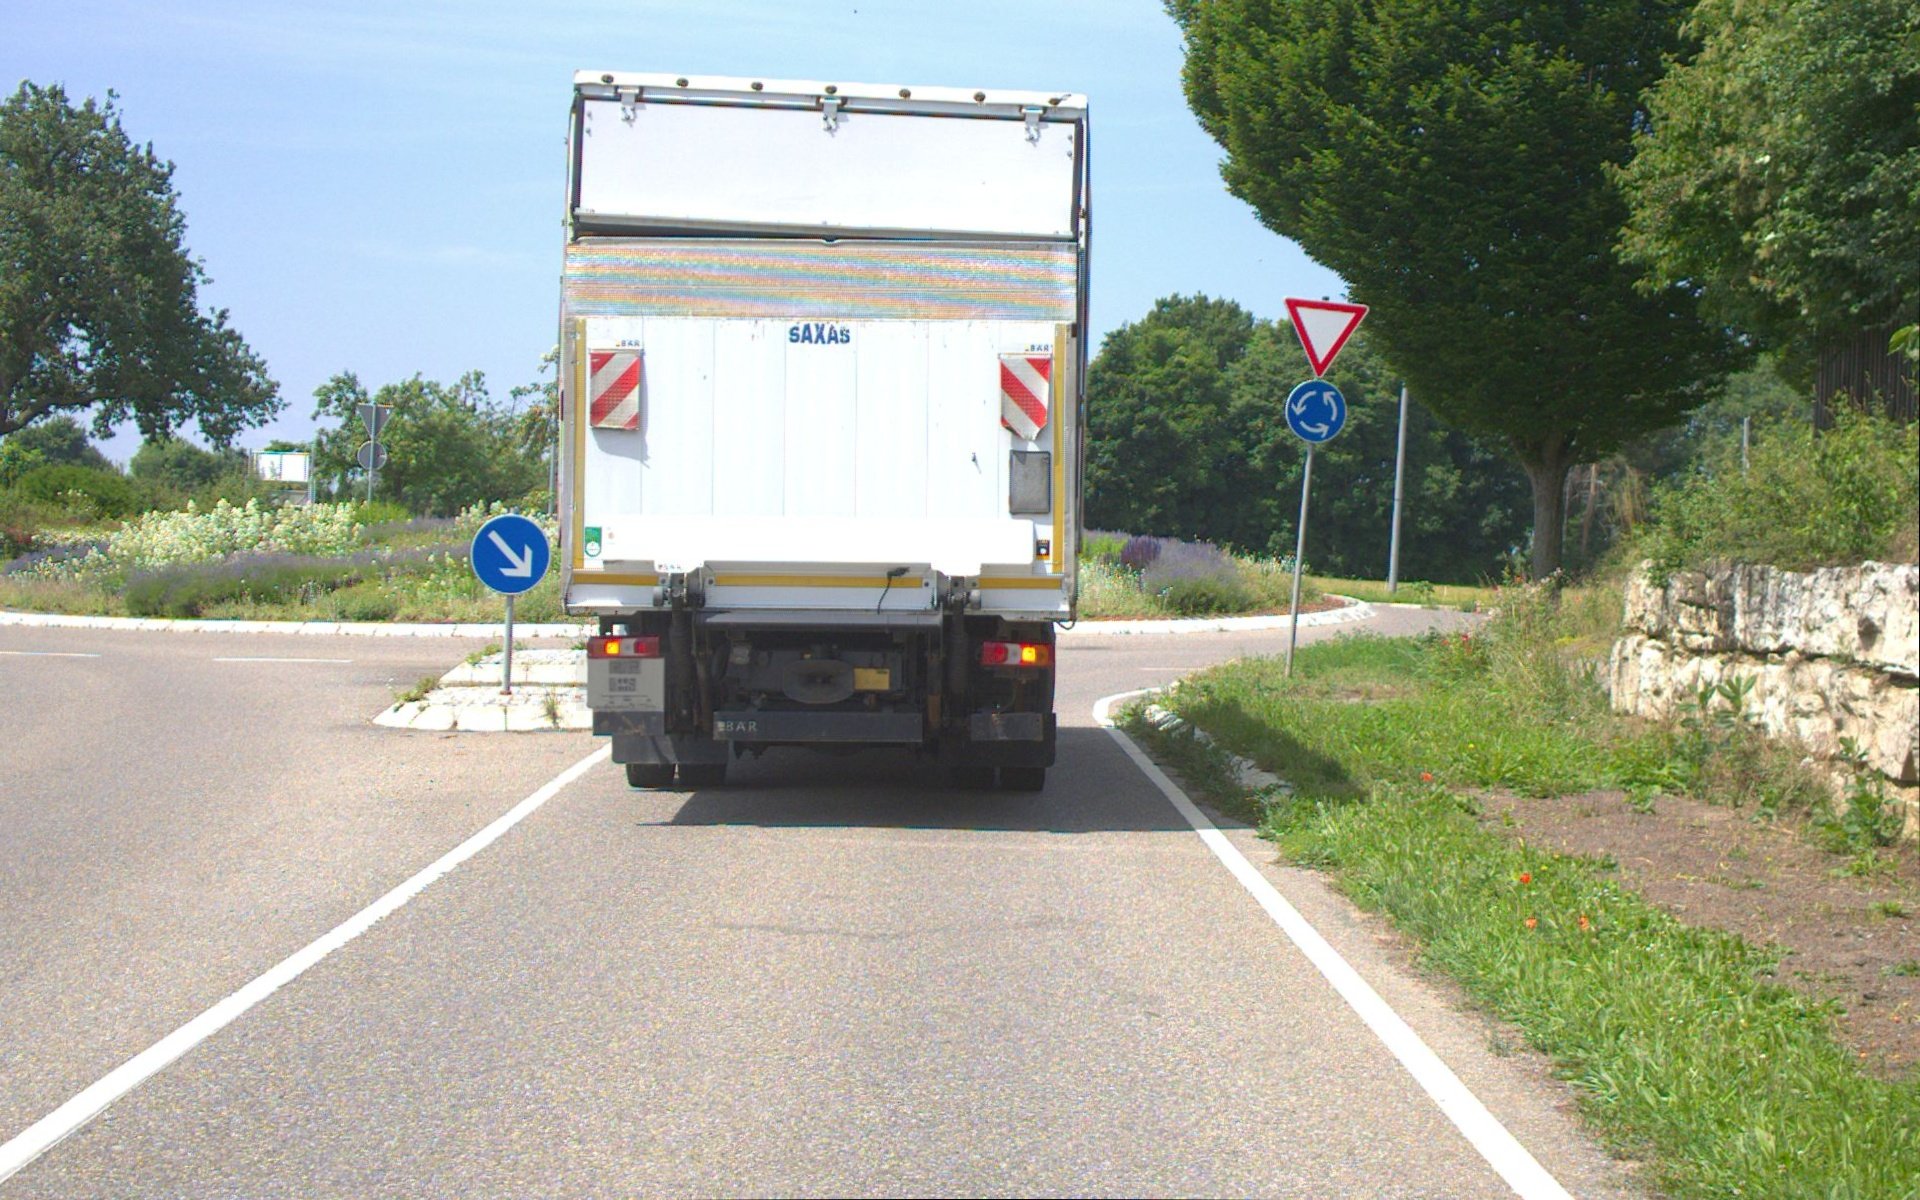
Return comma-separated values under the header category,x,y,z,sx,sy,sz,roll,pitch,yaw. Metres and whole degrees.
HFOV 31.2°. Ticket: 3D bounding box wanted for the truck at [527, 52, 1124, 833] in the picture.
category,x,y,z,sx,sy,sz,roll,pitch,yaw
truck,-0.792,-0.849,21.024,2.766,3.658,9.384,1,1,-2
